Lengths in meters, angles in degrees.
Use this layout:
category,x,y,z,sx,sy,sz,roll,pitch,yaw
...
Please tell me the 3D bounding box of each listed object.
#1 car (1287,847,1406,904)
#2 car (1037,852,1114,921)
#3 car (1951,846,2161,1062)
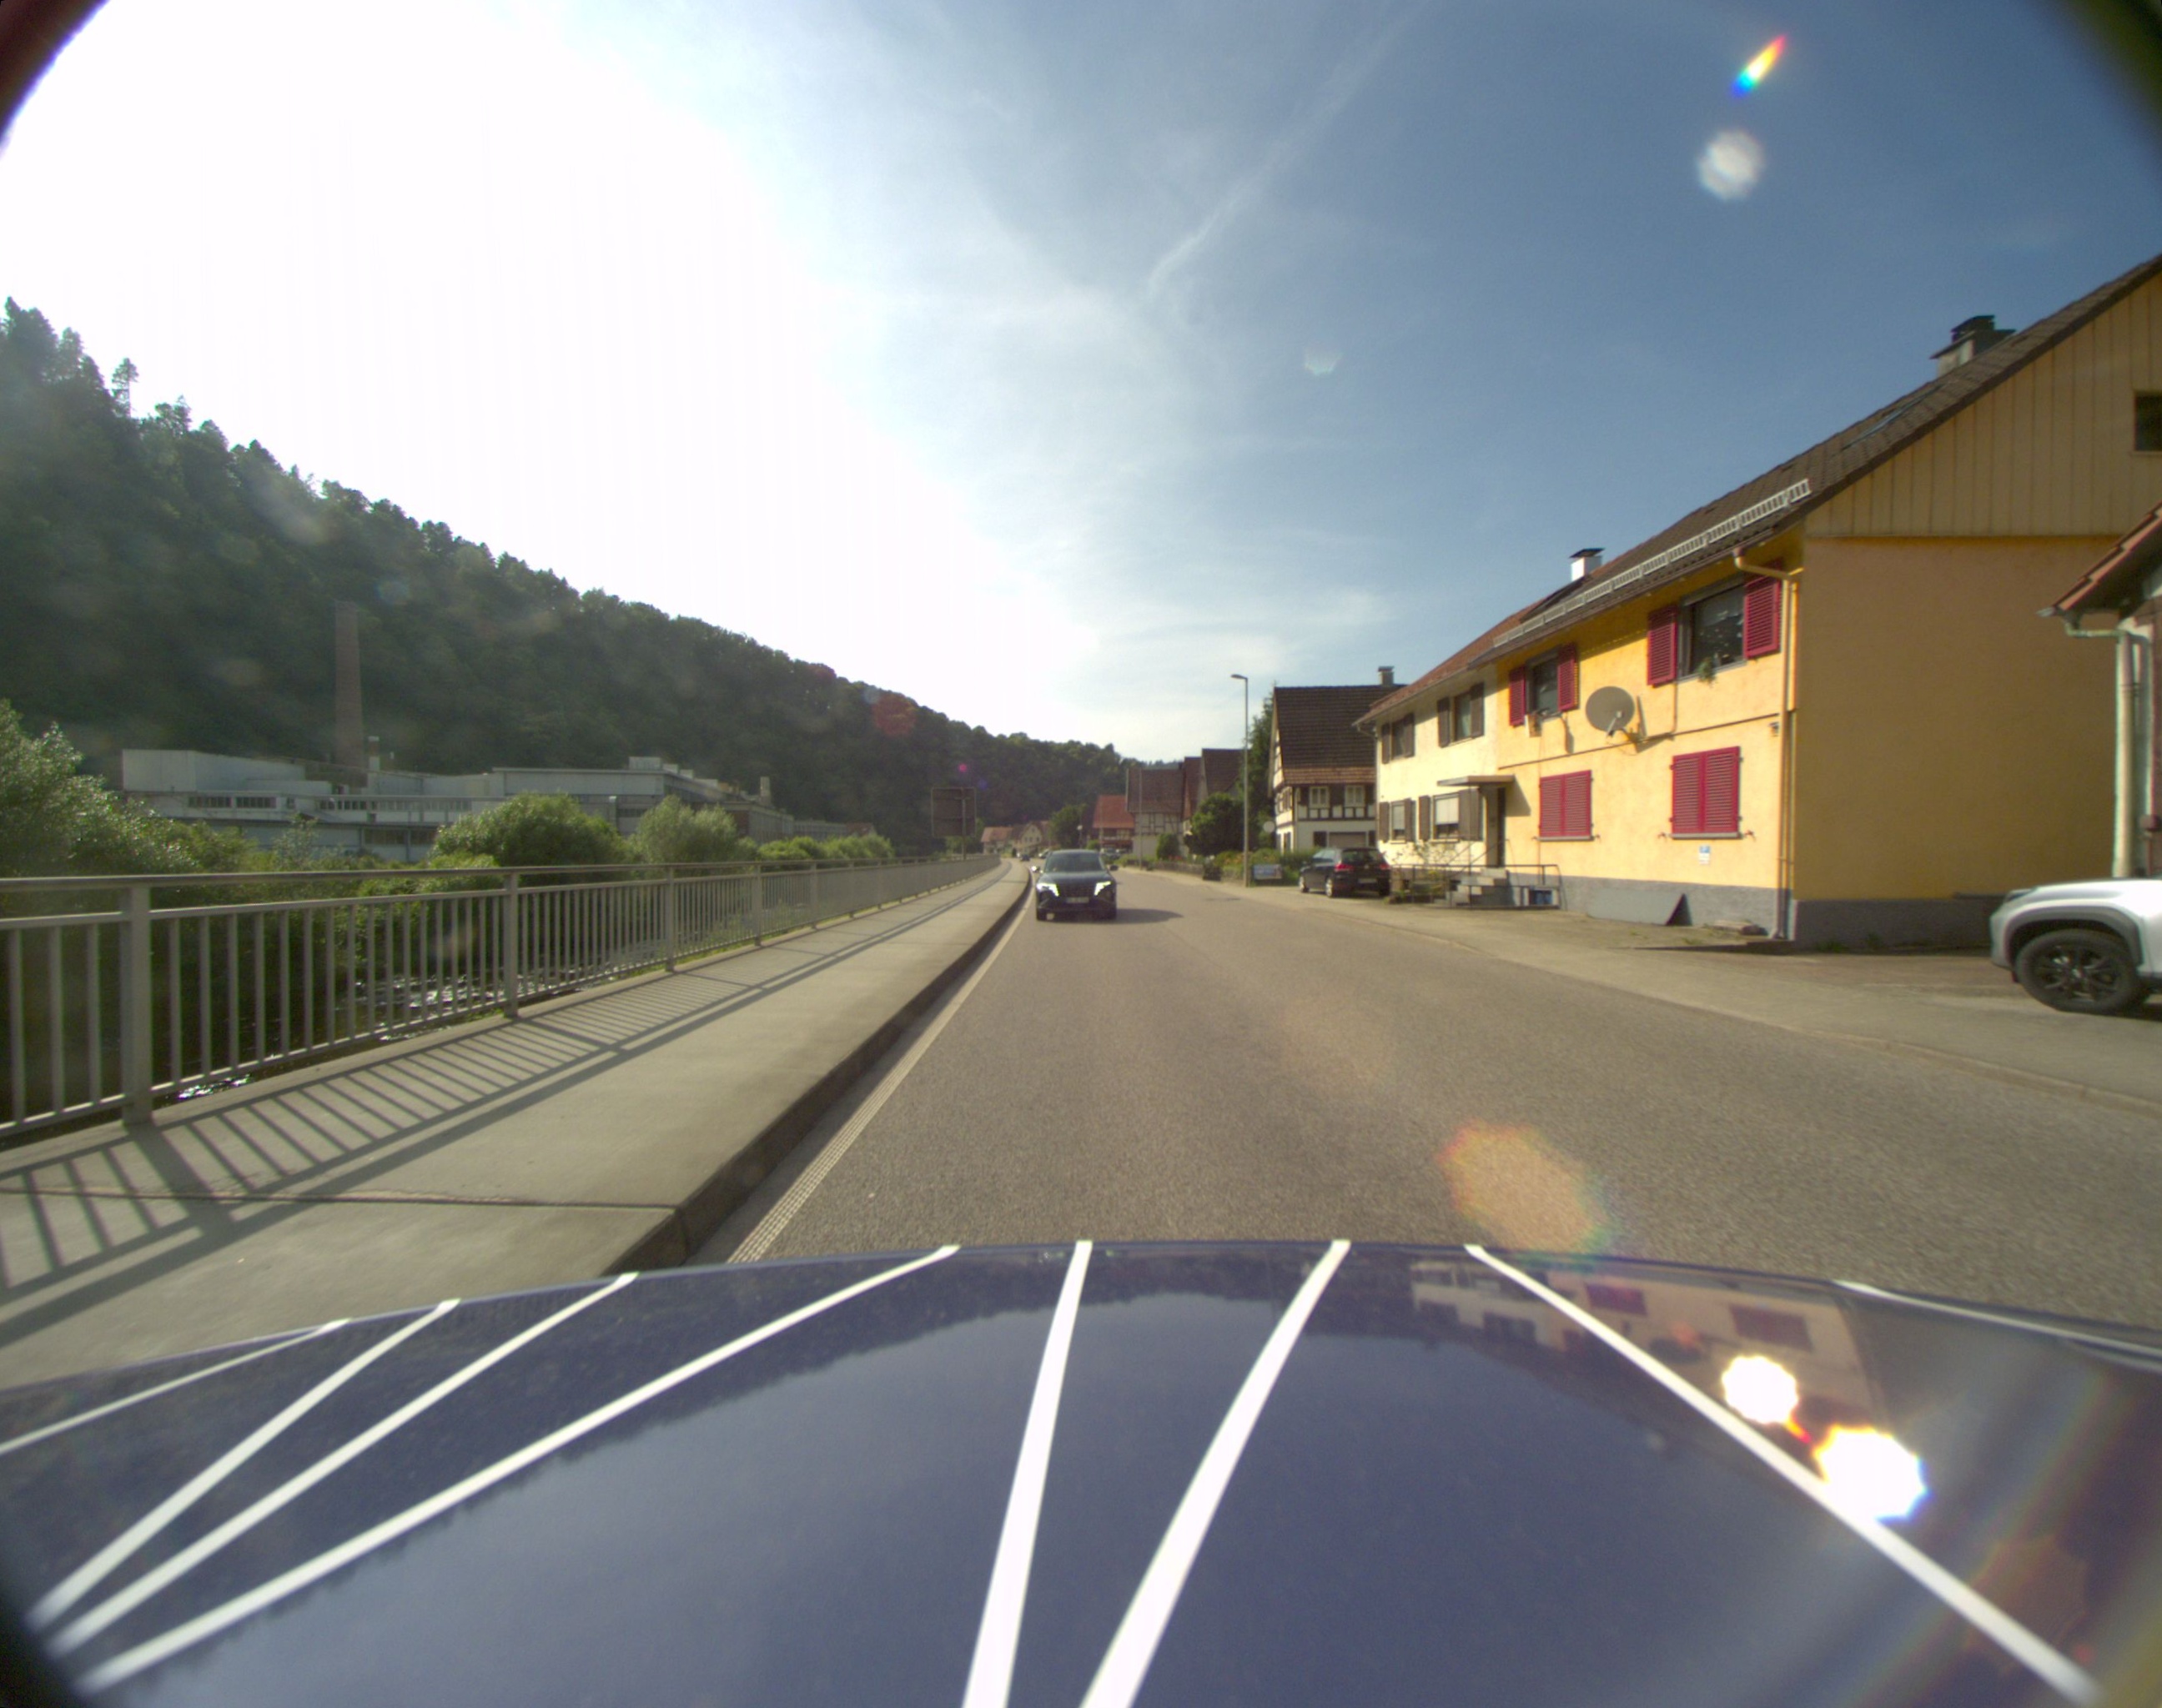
category,x,y,z,sx,sy,sz,roll,pitch,yaw
car,7.898,0.579,23.034,1.889,1.510,4.235,-2,0,-4
car,-0.247,0.773,20.150,1.650,1.639,3.997,0,0,-6
car,8.521,0.712,4.559,1.889,1.510,4.094,1,0,0
